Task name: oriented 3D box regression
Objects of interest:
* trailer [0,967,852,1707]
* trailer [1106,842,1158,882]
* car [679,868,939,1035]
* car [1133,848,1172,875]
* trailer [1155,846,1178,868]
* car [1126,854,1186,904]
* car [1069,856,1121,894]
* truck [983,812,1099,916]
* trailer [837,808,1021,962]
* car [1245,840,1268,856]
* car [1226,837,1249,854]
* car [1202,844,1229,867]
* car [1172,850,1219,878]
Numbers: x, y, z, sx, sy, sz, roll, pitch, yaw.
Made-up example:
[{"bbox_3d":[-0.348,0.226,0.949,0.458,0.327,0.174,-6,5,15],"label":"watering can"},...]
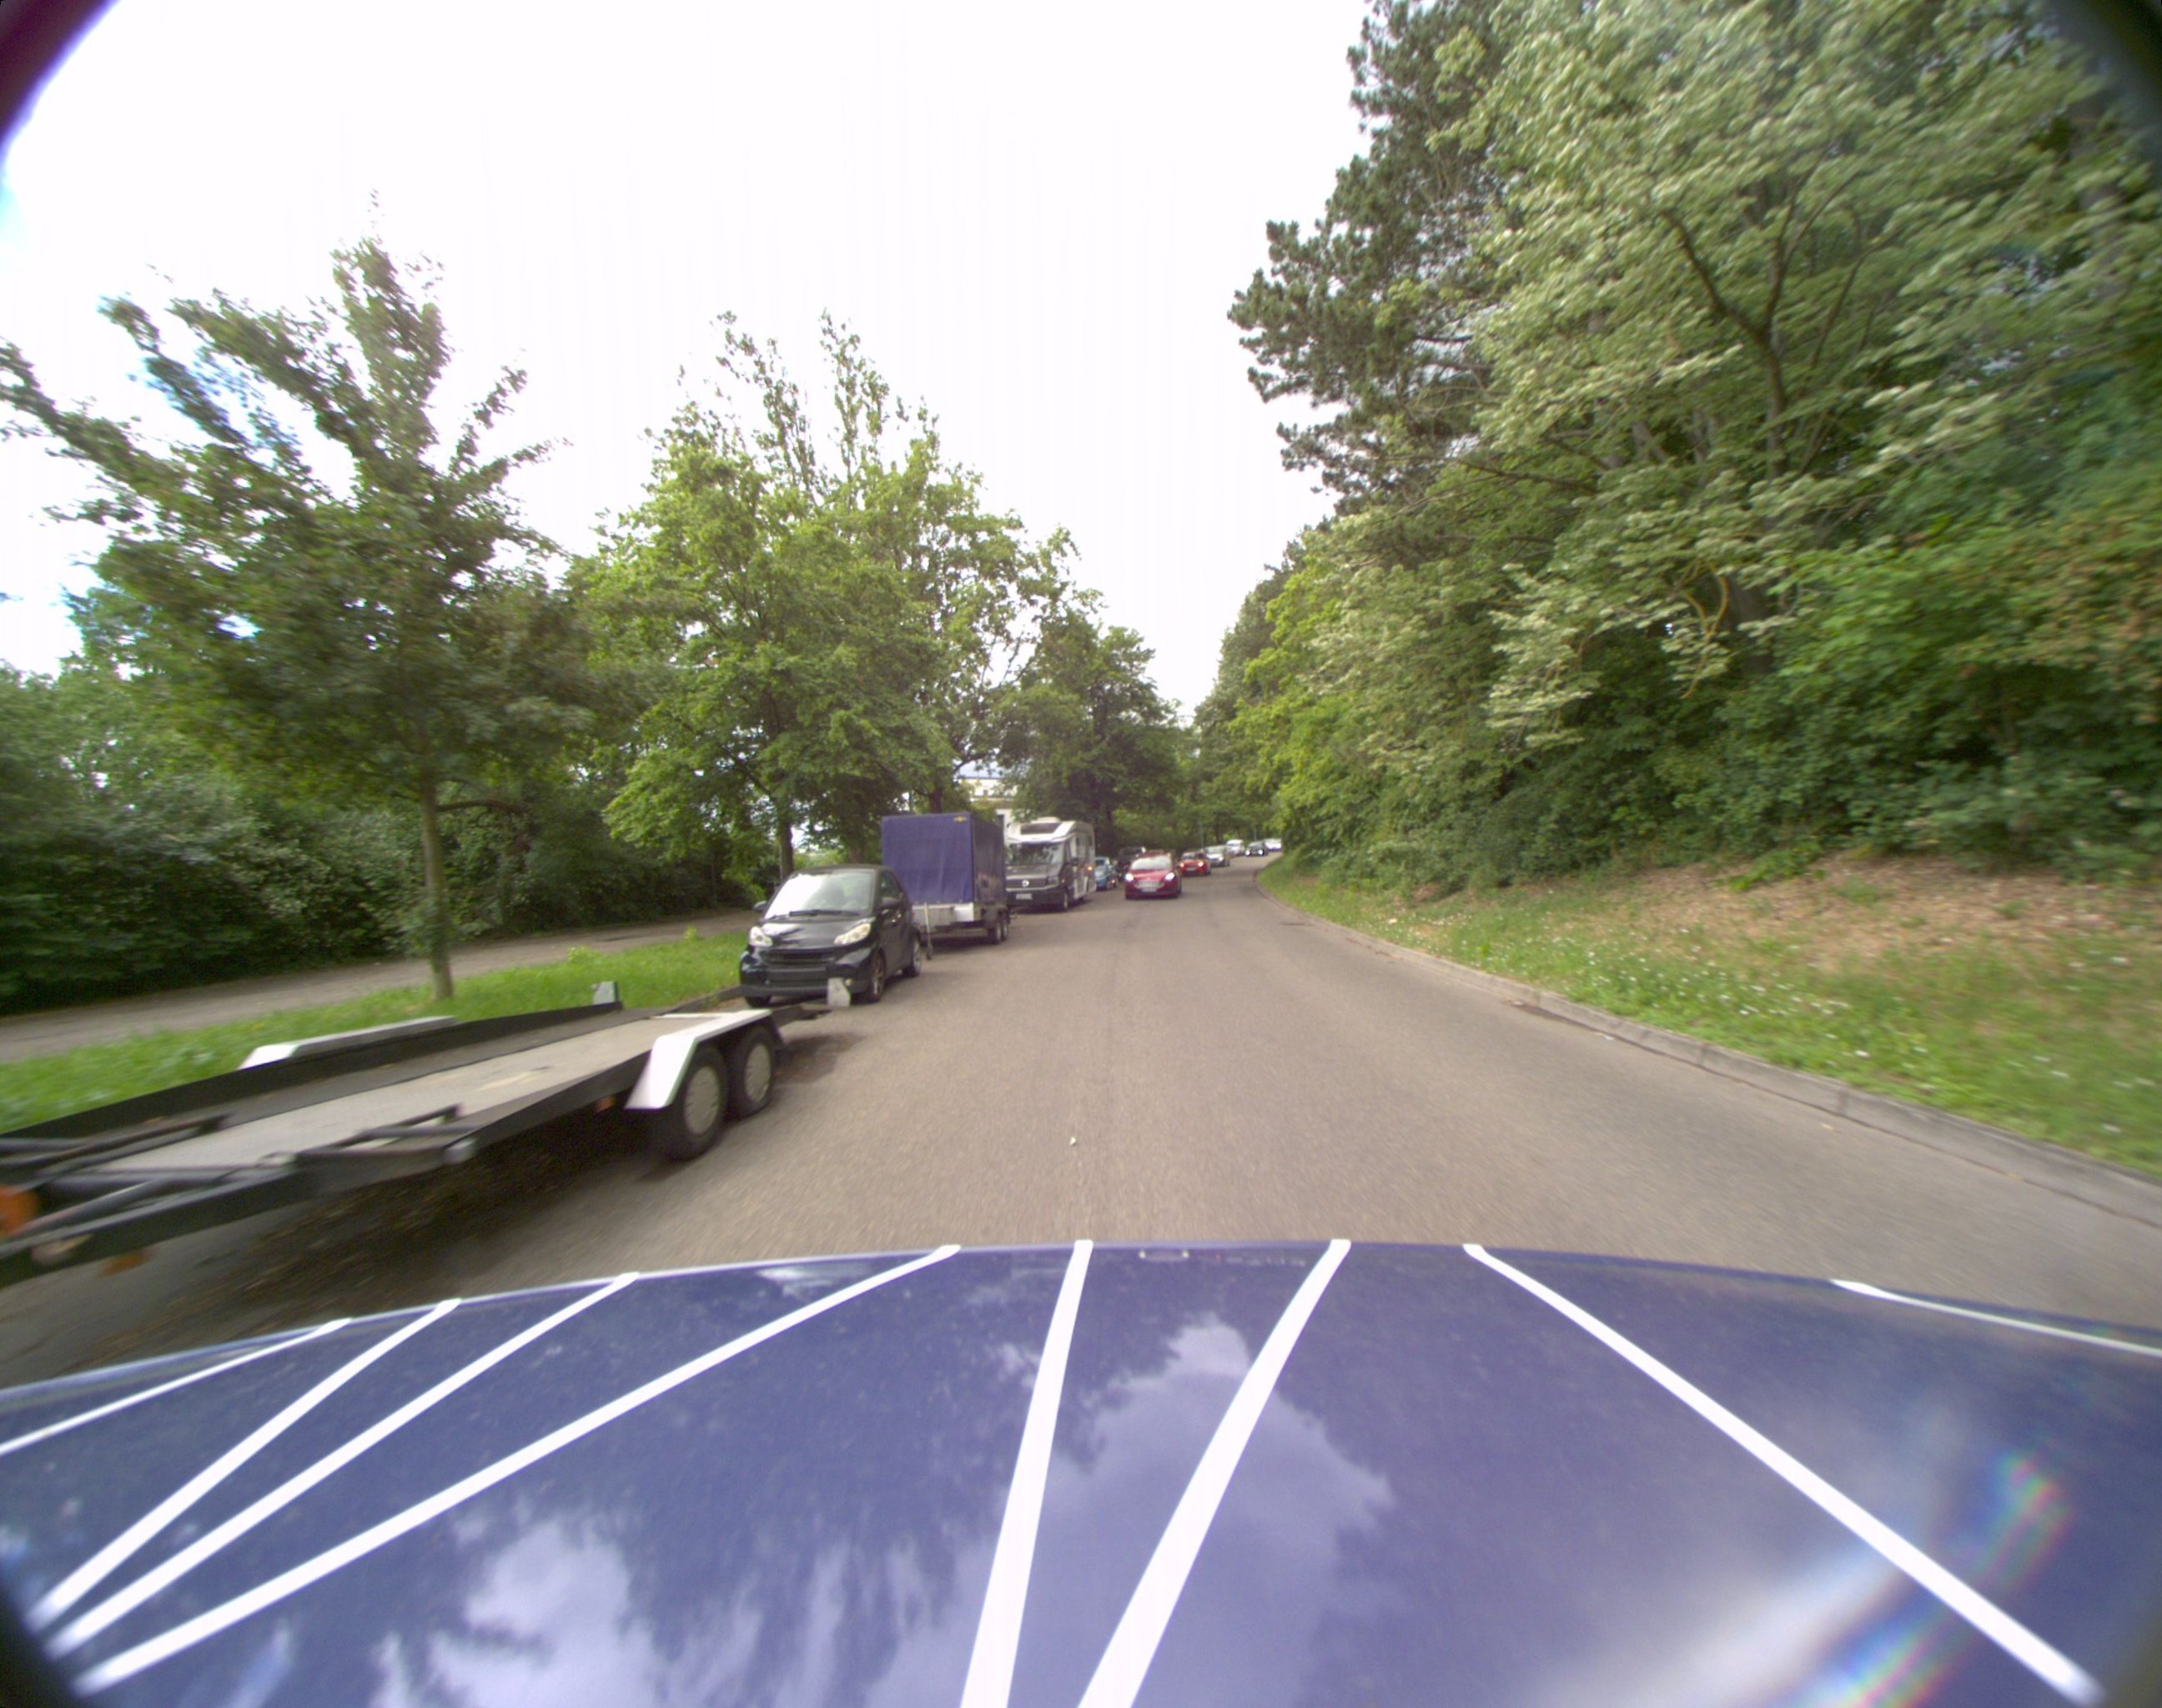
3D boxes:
[{"bbox_3d":[-3.092,1.393,3.546,2.109,0.647,6.400,-3,0,0],"label":"trailer"},{"bbox_3d":[3.087,0.399,44.607,1.996,1.922,5.897,-2,2,14],"label":"trailer"},{"bbox_3d":[-3.050,1.017,9.328,1.733,1.513,3.405,-3,1,3],"label":"car"},{"bbox_3d":[4.807,0.470,50.260,1.843,1.675,4.605,-3,0,14],"label":"car"},{"bbox_3d":[6.411,0.212,57.009,1.376,1.595,2.269,-3,0,14],"label":"trailer"},{"bbox_3d":[2.783,0.865,28.609,1.998,1.619,4.627,-3,0,5],"label":"car"},{"bbox_3d":[0.715,0.953,35.735,1.698,1.538,3.771,-2,1,12],"label":"car"},{"bbox_3d":[-1.067,0.282,25.216,2.308,2.916,7.038,-1,0,10],"label":"truck"},{"bbox_3d":[-2.521,0.544,13.983,2.111,2.347,4.704,0,-2,4],"label":"trailer"},{"bbox_3d":[18.756,-0.607,81.032,1.765,1.509,4.005,-3,1,21],"label":"car"},{"bbox_3d":[17.710,-0.993,85.743,1.864,1.716,4.181,-3,0,21],"label":"car"},{"bbox_3d":[10.607,0.113,59.654,1.921,1.671,4.003,0,1,13],"label":"car"},{"bbox_3d":[6.924,0.575,45.647,1.864,1.440,4.181,-3,0,21],"label":"car"}]
